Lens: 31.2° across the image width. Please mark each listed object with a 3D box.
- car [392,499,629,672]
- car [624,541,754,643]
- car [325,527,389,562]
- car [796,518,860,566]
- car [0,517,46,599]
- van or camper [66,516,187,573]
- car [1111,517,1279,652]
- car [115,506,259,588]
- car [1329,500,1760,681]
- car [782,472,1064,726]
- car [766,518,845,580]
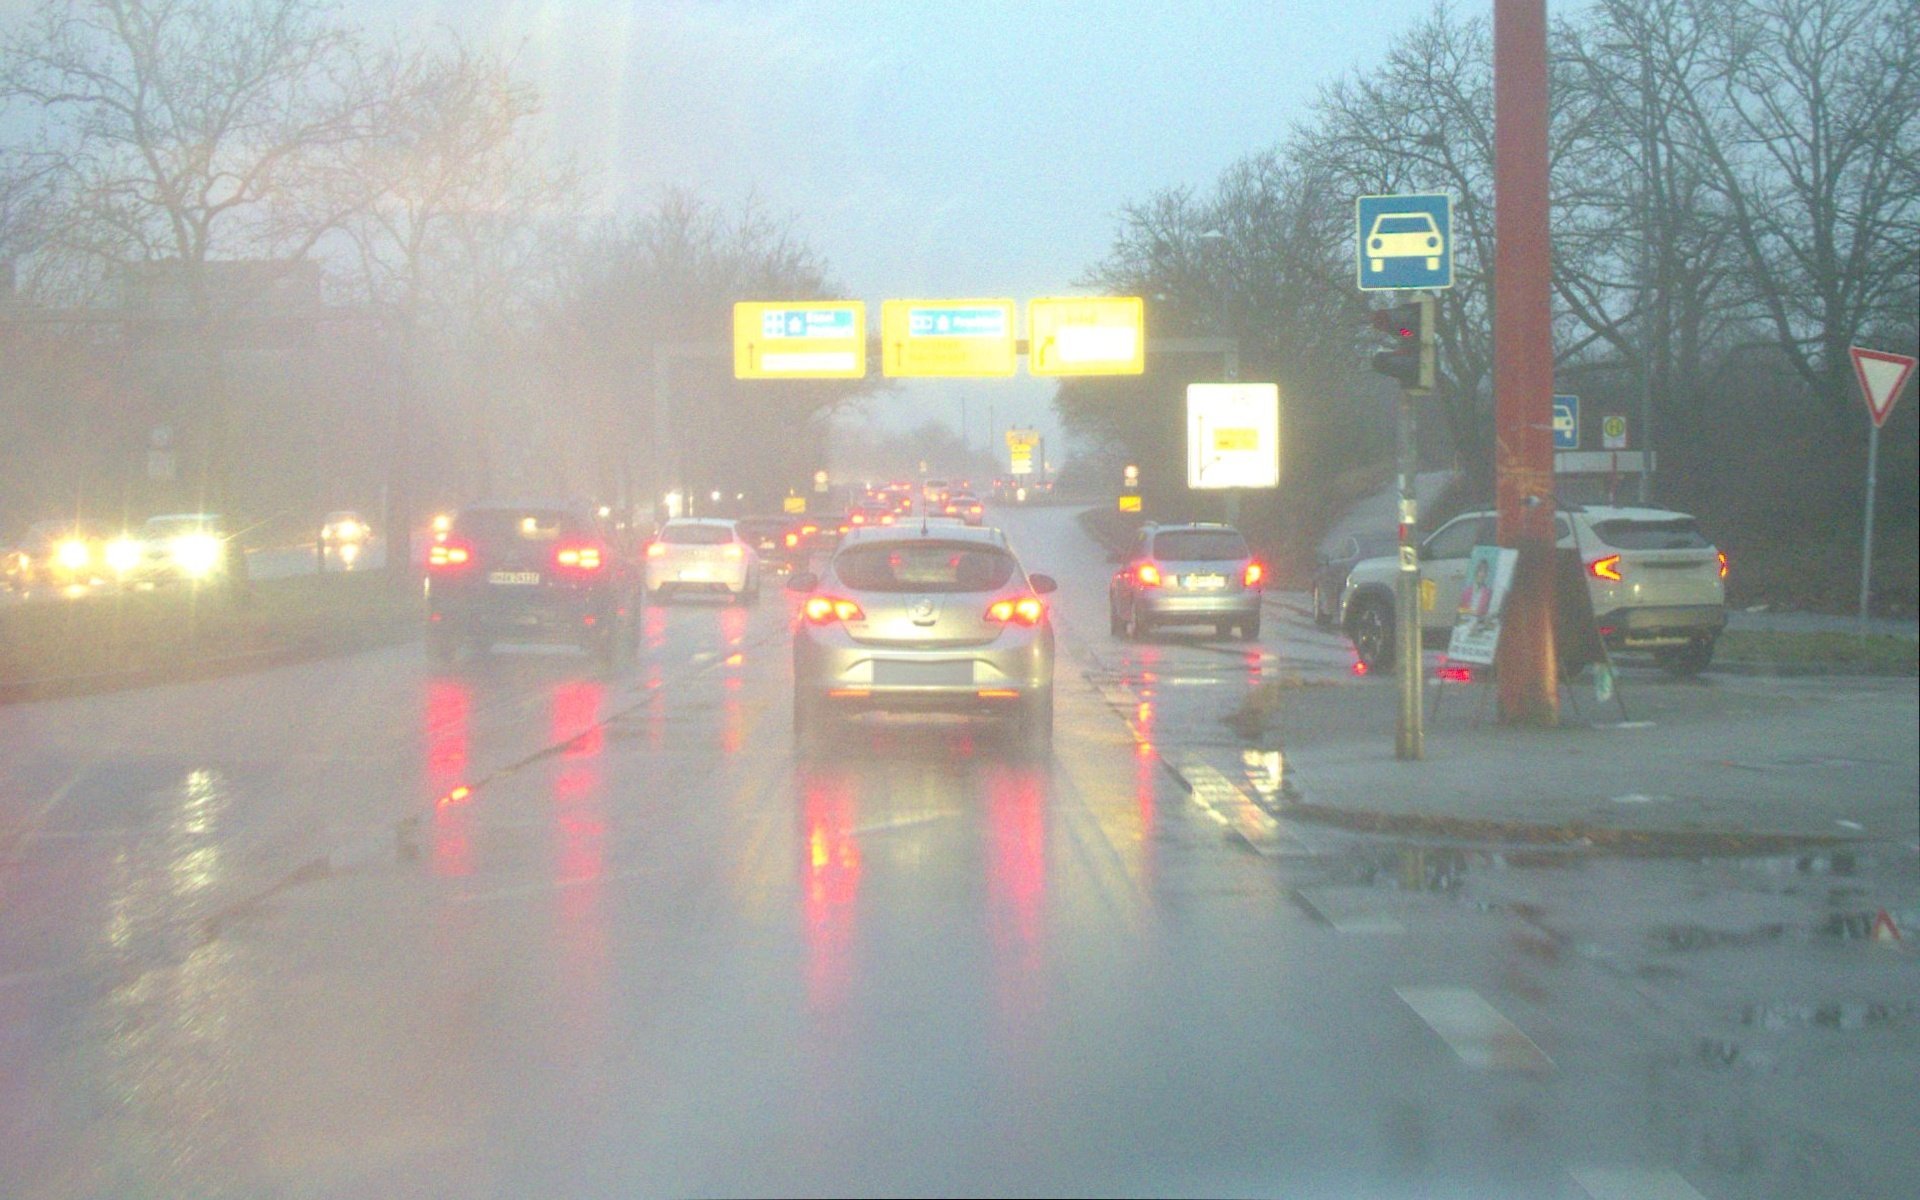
[{"bbox_3d":[-4.511,-0.185,35.016,1.822,1.642,4.000,0,1,1],"label":"car"},{"bbox_3d":[-4.574,-0.162,58.541,1.822,1.642,4.000,0,1,1],"label":"car"},{"bbox_3d":[-26.768,-2.465,152.667,1.993,1.472,4.072,1,2,2],"label":"car"},{"bbox_3d":[-4.236,-1.876,110.900,1.822,1.499,4.000,0,1,1],"label":"car"},{"bbox_3d":[-21.358,-0.909,74.489,1.797,1.654,4.000,1,3,4],"label":"car"},{"bbox_3d":[-21.682,-1.461,89.620,1.904,1.441,5.159,0,1,0],"label":"van or camper"},{"bbox_3d":[3.020,-0.221,45.016,1.933,1.642,4.466,1,1,1],"label":"car"},{"bbox_3d":[-15.230,-1.083,67.968,1.770,1.531,4.841,-1,2,0],"label":"car"},{"bbox_3d":[5.517,-0.135,33.007,1.815,1.612,4.411,-1,1,-27],"label":"car"},{"bbox_3d":[-0.210,-0.062,24.695,1.822,1.642,4.467,-1,1,1],"label":"car"},{"bbox_3d":[-3.385,-1.139,75.789,1.505,1.334,4.000,0,1,1],"label":"car"}]
